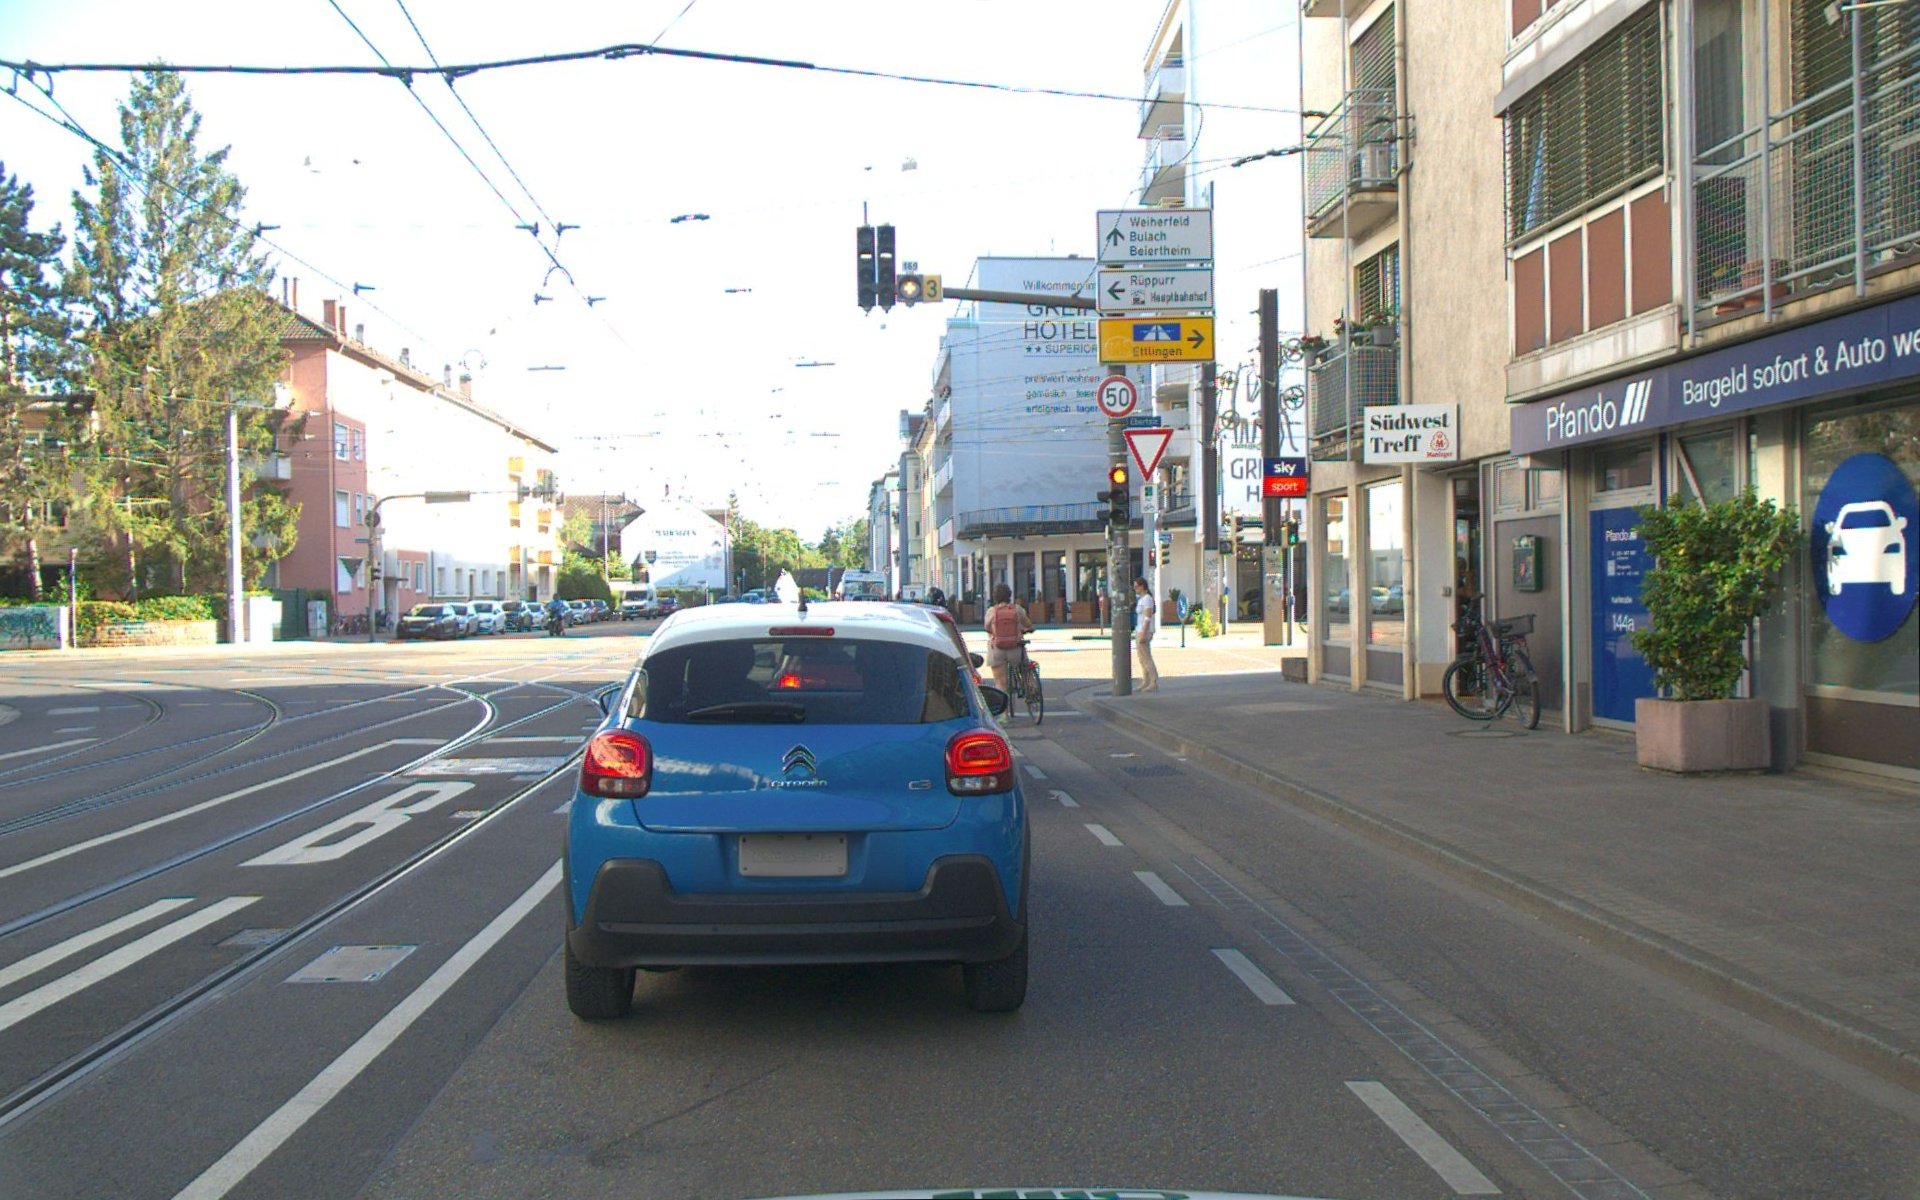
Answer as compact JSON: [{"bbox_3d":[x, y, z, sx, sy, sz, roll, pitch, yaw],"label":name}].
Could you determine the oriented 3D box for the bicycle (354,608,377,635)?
[{"bbox_3d":[-25.875,0.927,71.985,0.527,1.101,1.908,-1,0,-7],"label":"bicycle"}]

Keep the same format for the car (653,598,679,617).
[{"bbox_3d":[-25.577,0.645,144.164,1.913,1.545,3.995,-1,0,-6],"label":"car"}]

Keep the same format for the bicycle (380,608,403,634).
[{"bbox_3d":[-25.674,0.941,74.690,0.597,1.101,1.908,-1,0,-7],"label":"bicycle"}]

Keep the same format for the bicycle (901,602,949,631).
[{"bbox_3d":[-1.395,0.644,65.778,1.868,1.083,0.641,-1,0,-8],"label":"bicycle"}]

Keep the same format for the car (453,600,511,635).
[{"bbox_3d":[-22.757,0.821,78.860,1.913,1.545,3.995,-1,0,-6],"label":"car"}]

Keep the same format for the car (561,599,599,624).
[{"bbox_3d":[-24.852,0.750,108.261,1.913,1.545,3.995,-1,0,-6],"label":"car"}]

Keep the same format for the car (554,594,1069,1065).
[{"bbox_3d":[-0.613,0.735,7.349,1.647,1.488,3.997,1,0,-4],"label":"car"}]

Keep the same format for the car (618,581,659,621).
[{"bbox_3d":[-23.225,0.069,119.575,2.446,2.759,5.828,-1,0,-7],"label":"car"}]

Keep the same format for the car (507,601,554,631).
[{"bbox_3d":[-23.765,0.856,91.566,1.913,1.545,3.995,-1,0,-6],"label":"car"}]

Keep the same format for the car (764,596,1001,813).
[{"bbox_3d":[-0.679,0.730,13.558,1.647,1.488,3.997,1,0,-4],"label":"car"}]

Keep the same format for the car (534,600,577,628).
[{"bbox_3d":[-23.936,0.824,97.991,1.913,1.545,3.995,-1,0,-6],"label":"car"}]

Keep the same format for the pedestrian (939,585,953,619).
[{"bbox_3d":[-0.586,0.088,69.992,0.459,1.445,0.525,-1,0,-13],"label":"pedestrian"}]

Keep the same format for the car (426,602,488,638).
[{"bbox_3d":[-22.555,0.877,74.254,1.913,1.545,4.040,-1,0,-6],"label":"car"}]

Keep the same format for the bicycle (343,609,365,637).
[{"bbox_3d":[-24.590,0.929,67.115,0.527,1.101,1.905,-1,0,-11],"label":"bicycle"}]

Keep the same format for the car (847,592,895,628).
[{"bbox_3d":[-3.677,0.387,67.738,1.752,1.383,3.909,-1,0,-6],"label":"car"}]

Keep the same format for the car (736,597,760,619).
[{"bbox_3d":[-21.814,0.810,170.491,2.293,2.074,5.044,-1,0,-6],"label":"car"}]

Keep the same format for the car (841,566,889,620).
[{"bbox_3d":[-4.232,-0.314,73.177,2.039,2.309,5.646,0,0,-4],"label":"car"}]

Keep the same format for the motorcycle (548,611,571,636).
[{"bbox_3d":[-16.227,0.941,67.019,0.738,0.993,2.092,-1,0,-9],"label":"motorcycle"}]

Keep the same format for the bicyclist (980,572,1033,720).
[{"bbox_3d":[0.567,0.556,20.594,0.588,1.776,1.084,-1,0,-1],"label":"bicyclist"}]

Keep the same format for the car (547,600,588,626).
[{"bbox_3d":[-24.410,0.809,102.988,1.913,1.545,3.995,-1,0,-6],"label":"car"}]

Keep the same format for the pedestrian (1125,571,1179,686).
[{"bbox_3d":[2.825,0.417,24.407,0.735,1.663,0.740,-1,0,5],"label":"pedestrian"}]

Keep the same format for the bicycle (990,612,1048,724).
[{"bbox_3d":[0.720,0.818,20.635,0.601,1.286,1.910,-1,0,-1],"label":"bicycle"}]

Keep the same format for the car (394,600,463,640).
[{"bbox_3d":[-22.016,0.792,68.649,1.913,1.545,3.995,-1,0,-6],"label":"car"}]

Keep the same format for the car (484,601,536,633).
[{"bbox_3d":[-23.235,0.840,85.517,1.913,1.545,3.995,-1,0,-6],"label":"car"}]

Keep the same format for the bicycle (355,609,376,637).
[{"bbox_3d":[-24.231,0.936,67.414,0.527,1.101,1.905,-1,0,-11],"label":"bicycle"}]

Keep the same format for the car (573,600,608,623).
[{"bbox_3d":[-25.568,0.789,114.592,1.913,1.545,3.995,-1,0,-6],"label":"car"}]

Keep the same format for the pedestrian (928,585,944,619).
[{"bbox_3d":[-1.011,0.093,70.237,0.514,1.445,0.547,-1,0,19],"label":"pedestrian"}]

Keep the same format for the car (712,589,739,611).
[{"bbox_3d":[-18.502,0.014,130.699,1.967,1.656,5.045,-1,0,-7],"label":"car"}]

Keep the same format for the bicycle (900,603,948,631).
[{"bbox_3d":[-1.447,0.669,67.083,1.868,1.083,0.641,-1,0,-8],"label":"bicycle"}]

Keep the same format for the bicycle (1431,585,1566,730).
[{"bbox_3d":[5.112,0.510,15.818,0.627,1.286,1.910,-1,0,-1],"label":"bicycle"}]

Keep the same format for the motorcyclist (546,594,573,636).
[{"bbox_3d":[-16.206,0.608,66.951,0.973,1.659,0.737,-1,0,-10],"label":"motorcyclist"}]

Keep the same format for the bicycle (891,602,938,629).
[{"bbox_3d":[-1.862,0.646,68.269,1.868,1.083,0.641,-1,0,-8],"label":"bicycle"}]

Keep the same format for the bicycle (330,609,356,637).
[{"bbox_3d":[-24.983,0.919,66.989,0.628,1.101,1.905,-1,0,-11],"label":"bicycle"}]
